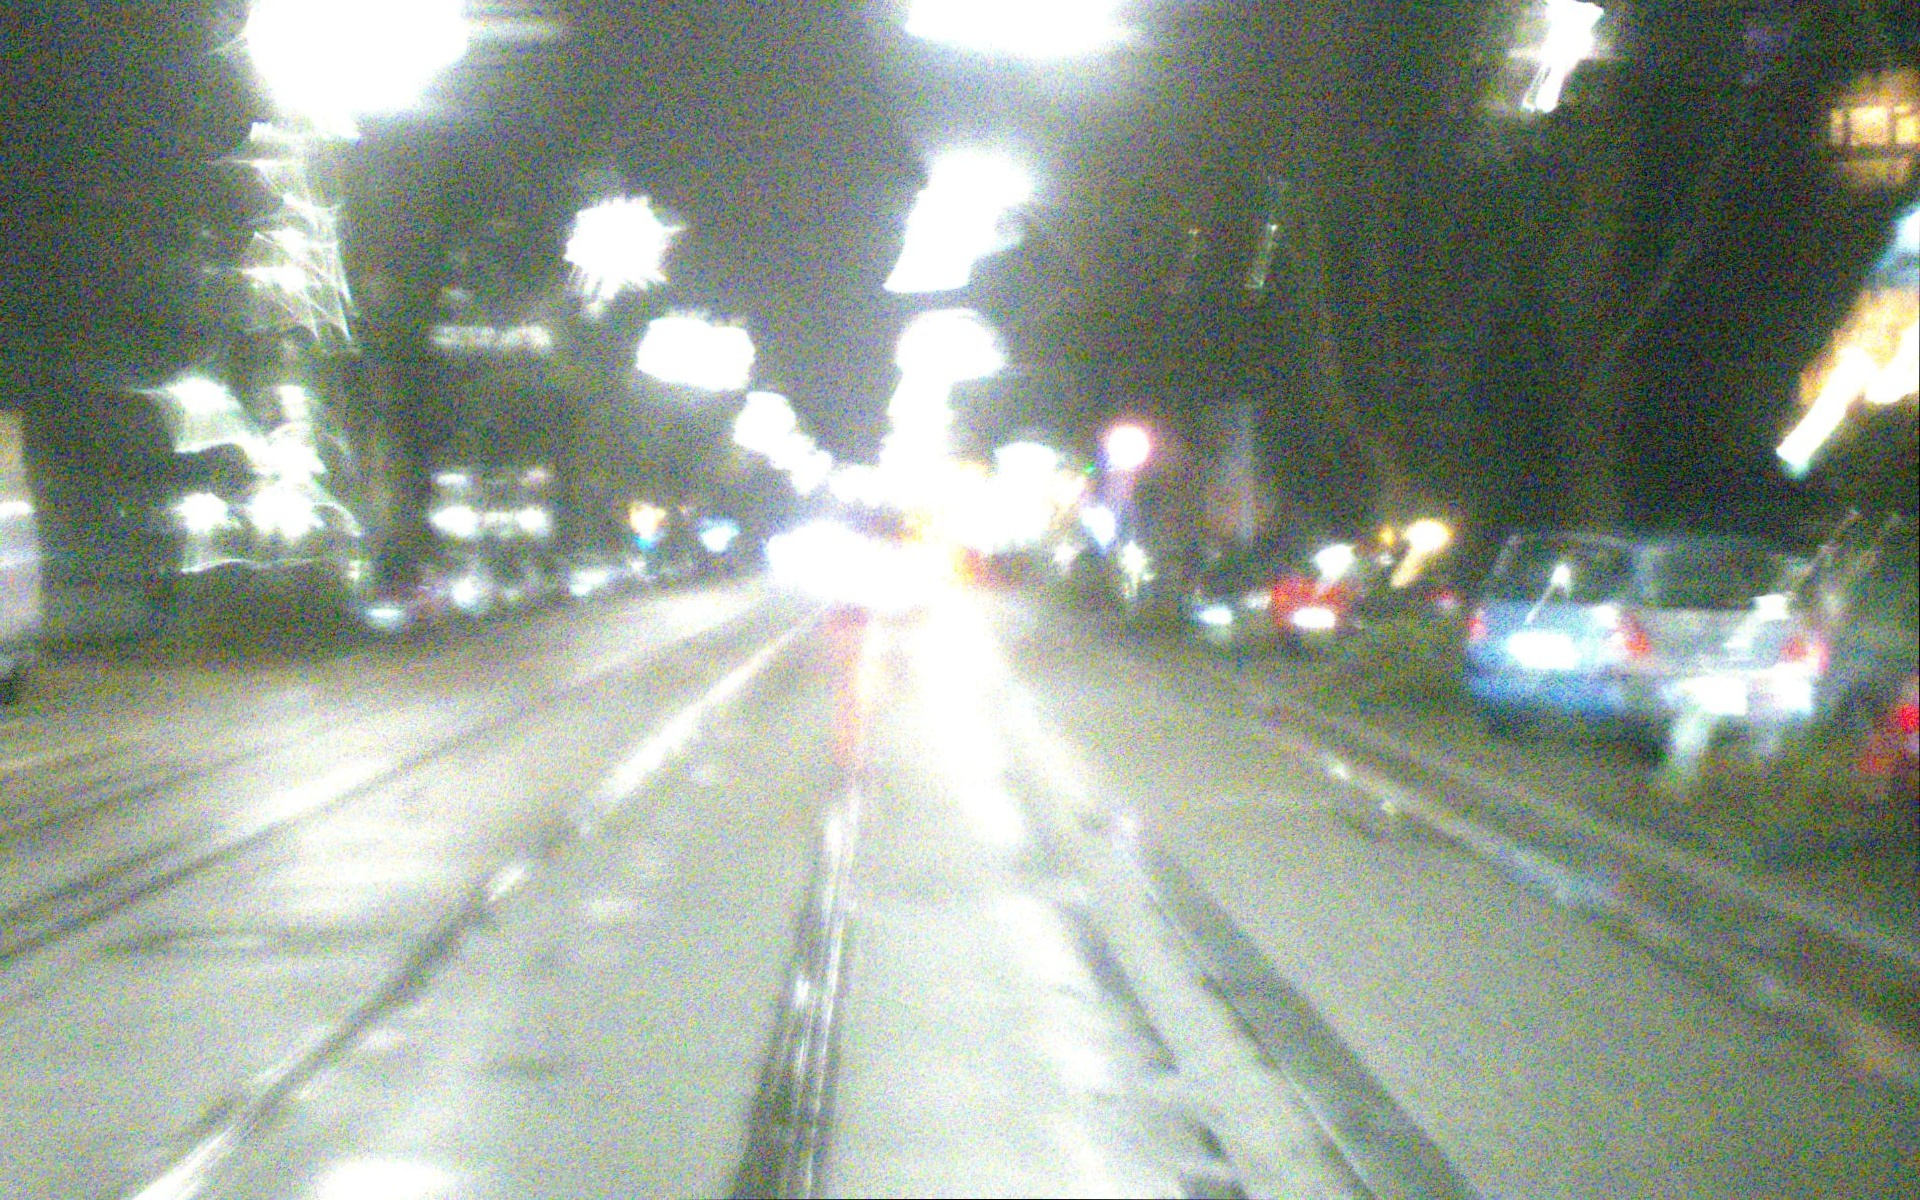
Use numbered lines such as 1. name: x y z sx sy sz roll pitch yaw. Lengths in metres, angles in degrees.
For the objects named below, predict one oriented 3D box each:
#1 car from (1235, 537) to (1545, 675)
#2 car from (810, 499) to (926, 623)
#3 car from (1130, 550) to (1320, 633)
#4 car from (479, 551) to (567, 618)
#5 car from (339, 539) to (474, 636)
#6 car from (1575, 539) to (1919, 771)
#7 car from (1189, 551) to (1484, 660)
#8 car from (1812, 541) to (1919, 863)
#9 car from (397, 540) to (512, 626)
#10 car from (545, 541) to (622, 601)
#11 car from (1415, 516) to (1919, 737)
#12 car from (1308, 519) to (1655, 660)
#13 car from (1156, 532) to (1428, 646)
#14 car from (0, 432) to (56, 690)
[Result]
1. car: 5.411 0.059 43.011 2.054 1.618 3.819 2 1 41
2. car: -1.934 -0.811 70.293 2.216 2.433 5.385 0 1 -3
3. car: 5.316 -0.175 68.582 1.909 1.567 3.954 2 1 38
4. car: -12.110 -0.434 95.442 2.022 1.755 4.000 2 0 -2
5. car: -10.753 -0.247 67.116 2.108 1.758 4.966 2 0 -4
6. car: 6.075 0.335 23.557 1.820 1.428 3.846 2 1 44
7. car: 5.410 0.068 49.080 1.950 1.449 4.237 2 1 45
8. car: 5.959 0.392 16.775 1.691 1.399 4.447 1 3 40
9. car: -11.063 -0.373 75.494 1.999 1.779 4.000 2 0 -2
10. car: -11.657 -0.897 106.608 2.022 1.755 4.000 2 0 -2
11. car: 5.414 0.159 26.032 3.878 1.528 1.821 0 2 -42
12. car: 5.627 -0.136 36.843 3.818 1.425 1.636 -1 2 -43
13. car: 5.233 -0.175 53.775 2.029 1.692 4.237 2 1 43
14. car: -10.252 -0.395 32.887 2.024 2.490 5.609 2 1 -4
